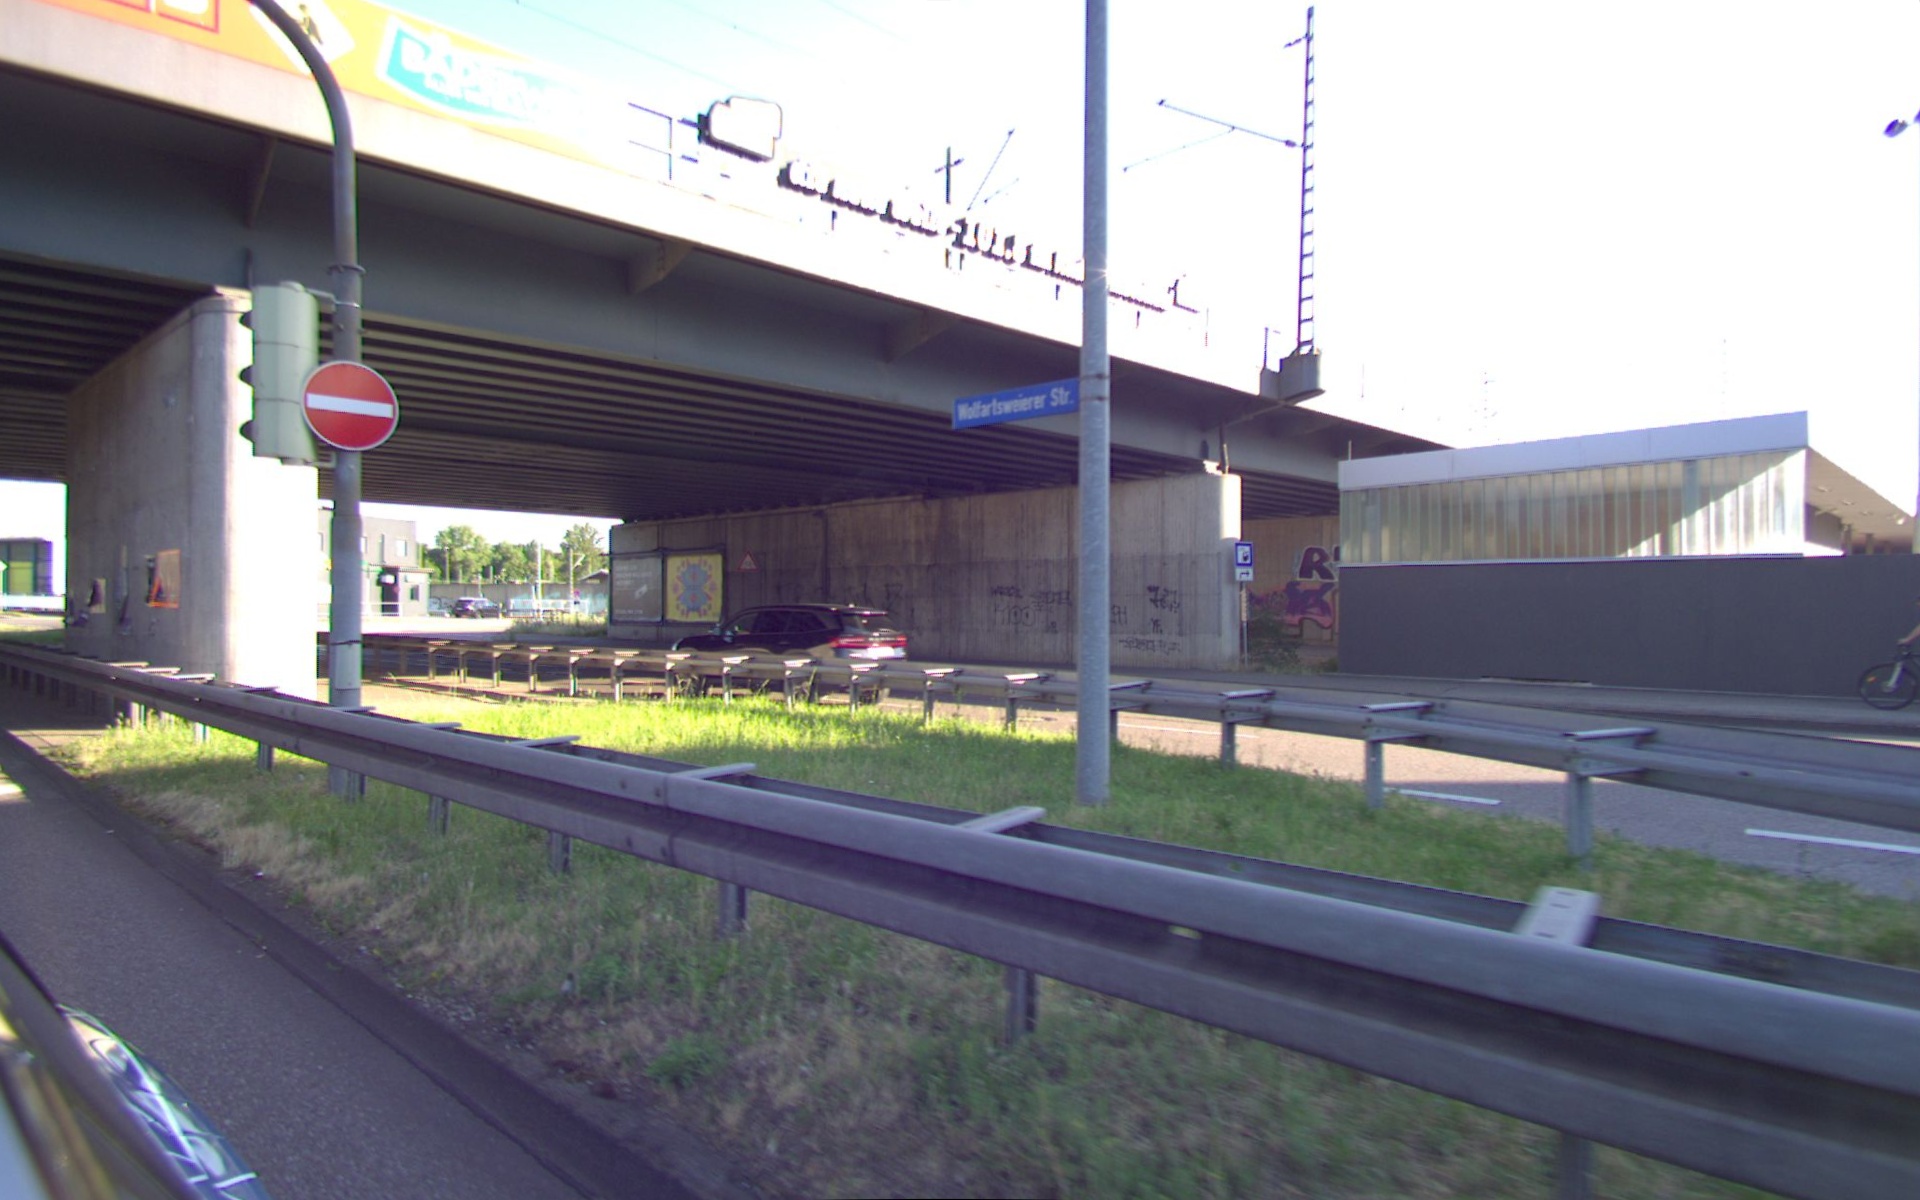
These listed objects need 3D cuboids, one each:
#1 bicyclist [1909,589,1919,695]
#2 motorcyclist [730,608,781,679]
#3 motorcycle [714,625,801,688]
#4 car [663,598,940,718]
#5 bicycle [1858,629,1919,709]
[{"bbox_3d":[14.784,0.629,15.048,0.716,1.575,0.940,-1,1,-44],"label":"bicyclist"},{"bbox_3d":[-4.316,0.899,21.364,0.868,1.434,0.673,1,1,44],"label":"motorcyclist"},{"bbox_3d":[-4.301,1.163,21.382,0.673,1.165,2.240,-1,1,-45],"label":"motorcycle"},{"bbox_3d":[-2.752,0.902,16.983,4.678,1.709,1.973,1,-3,41],"label":"car"},{"bbox_3d":[14.795,1.026,15.055,0.697,1.165,2.082,-1,0,-44],"label":"bicycle"}]
